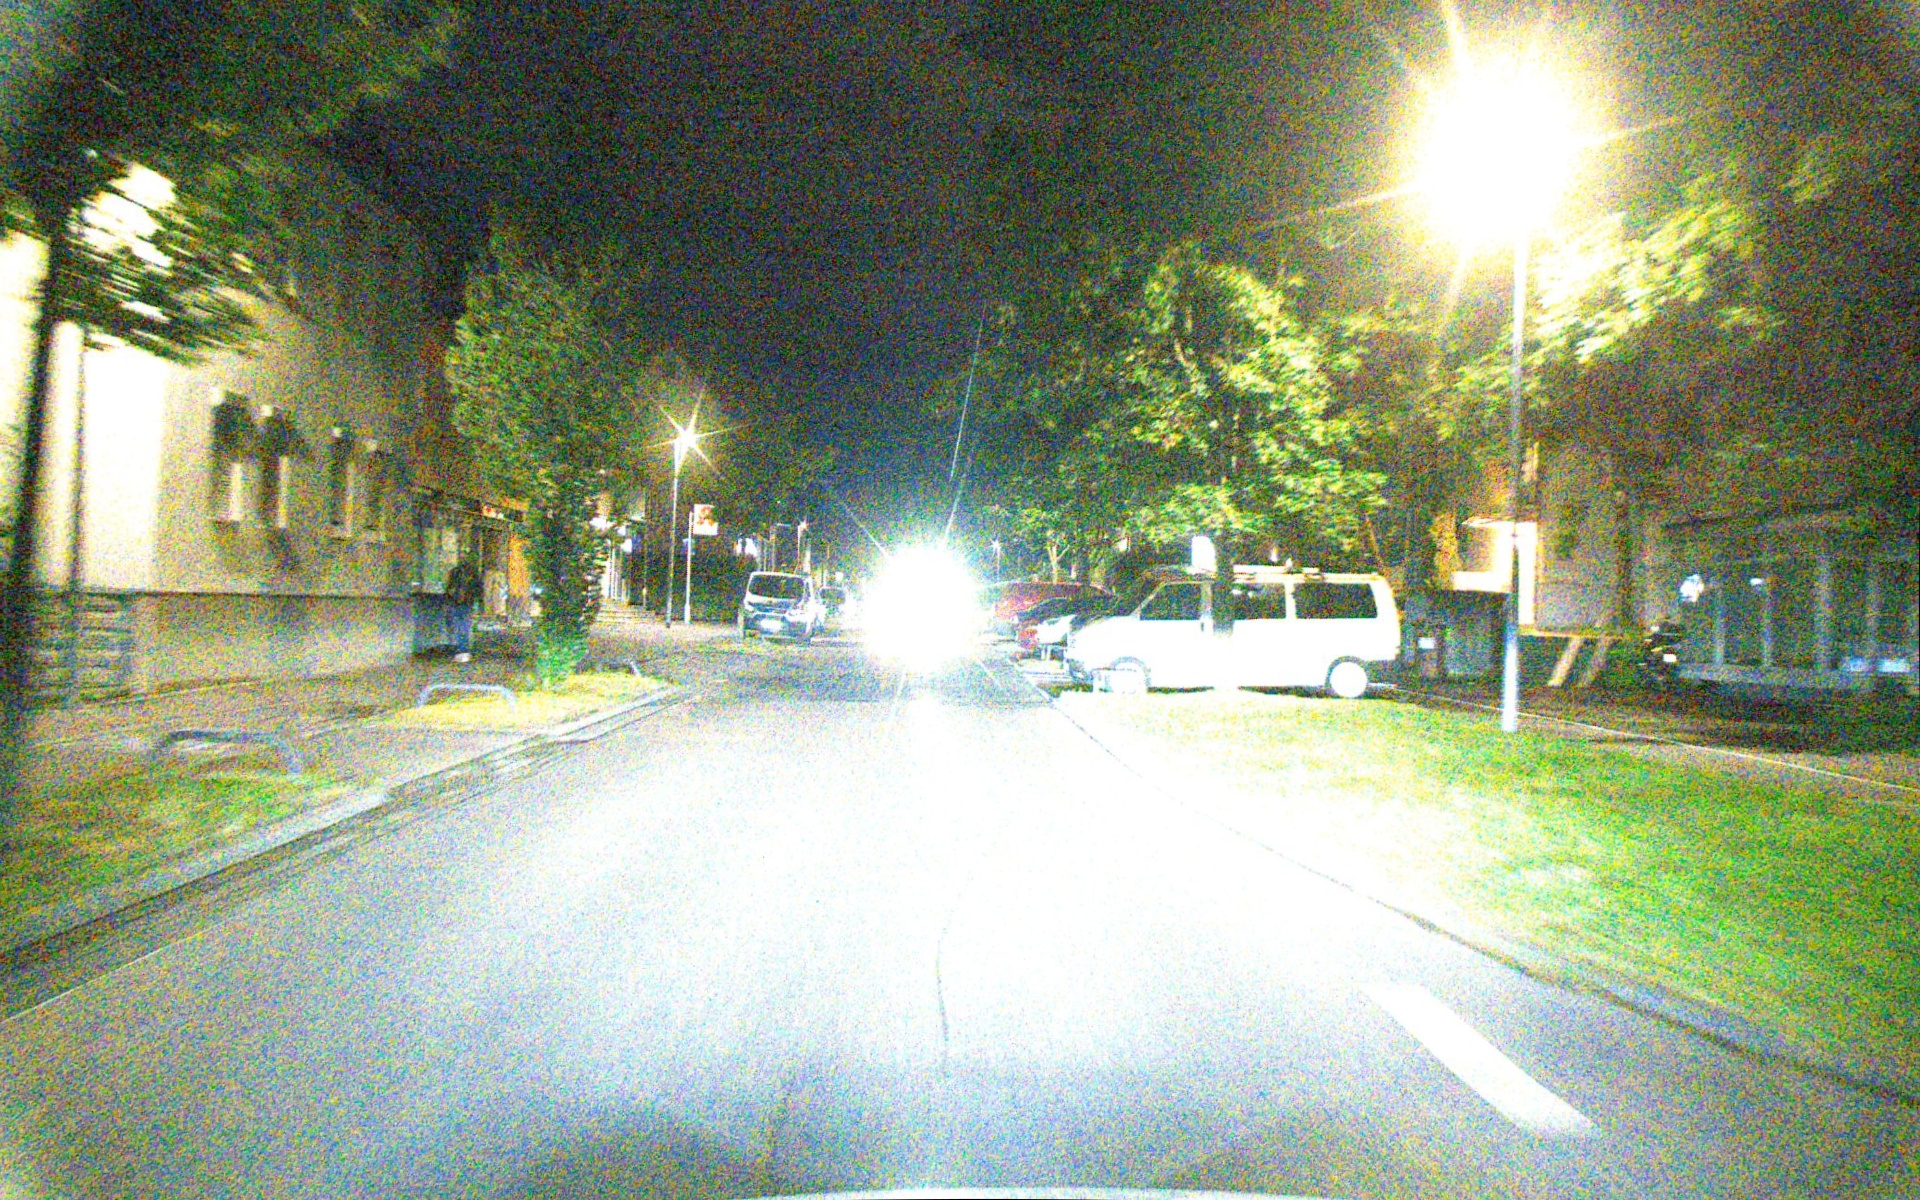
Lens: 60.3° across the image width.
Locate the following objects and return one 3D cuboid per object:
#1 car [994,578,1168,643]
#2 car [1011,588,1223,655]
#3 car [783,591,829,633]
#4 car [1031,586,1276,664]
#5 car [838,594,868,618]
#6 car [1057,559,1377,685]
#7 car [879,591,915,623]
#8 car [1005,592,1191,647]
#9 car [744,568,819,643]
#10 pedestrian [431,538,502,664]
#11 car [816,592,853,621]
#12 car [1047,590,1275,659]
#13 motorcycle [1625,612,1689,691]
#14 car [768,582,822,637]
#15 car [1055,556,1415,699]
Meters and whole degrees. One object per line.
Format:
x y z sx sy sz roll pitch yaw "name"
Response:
3.689 0.311 49.820 5.072 1.920 2.103 0 0 8 "car"
3.889 0.516 41.615 5.078 1.622 2.101 0 0 -3 "car"
-5.619 0.410 60.564 1.503 1.476 3.118 1 0 -2 "car"
4.156 0.528 36.128 5.078 1.622 2.101 0 0 -3 "car"
-6.309 0.330 97.450 1.649 1.354 3.598 1 0 -2 "car"
4.279 0.347 28.150 5.078 2.049 2.101 0 0 -3 "car"
-3.392 0.359 88.975 1.888 1.677 3.819 0 0 -2 "car"
3.875 0.539 47.130 5.078 1.495 2.101 0 0 -3 "car"
-5.212 0.151 48.658 1.788 2.021 4.463 3 0 -2 "car"
-8.311 0.010 27.907 0.769 2.049 1.204 3 0 -1 "pedestrian"
-6.177 0.303 81.441 1.649 1.354 3.598 1 0 -2 "car"
4.678 0.556 39.078 5.078 1.551 2.101 0 0 -3 "car"
13.152 0.941 31.242 1.048 1.350 2.706 1 1 22 "motorcycle"
-5.515 0.304 55.531 1.503 1.717 3.210 3 0 -2 "car"
4.066 0.390 25.081 5.078 2.049 2.101 0 0 -3 "car"
